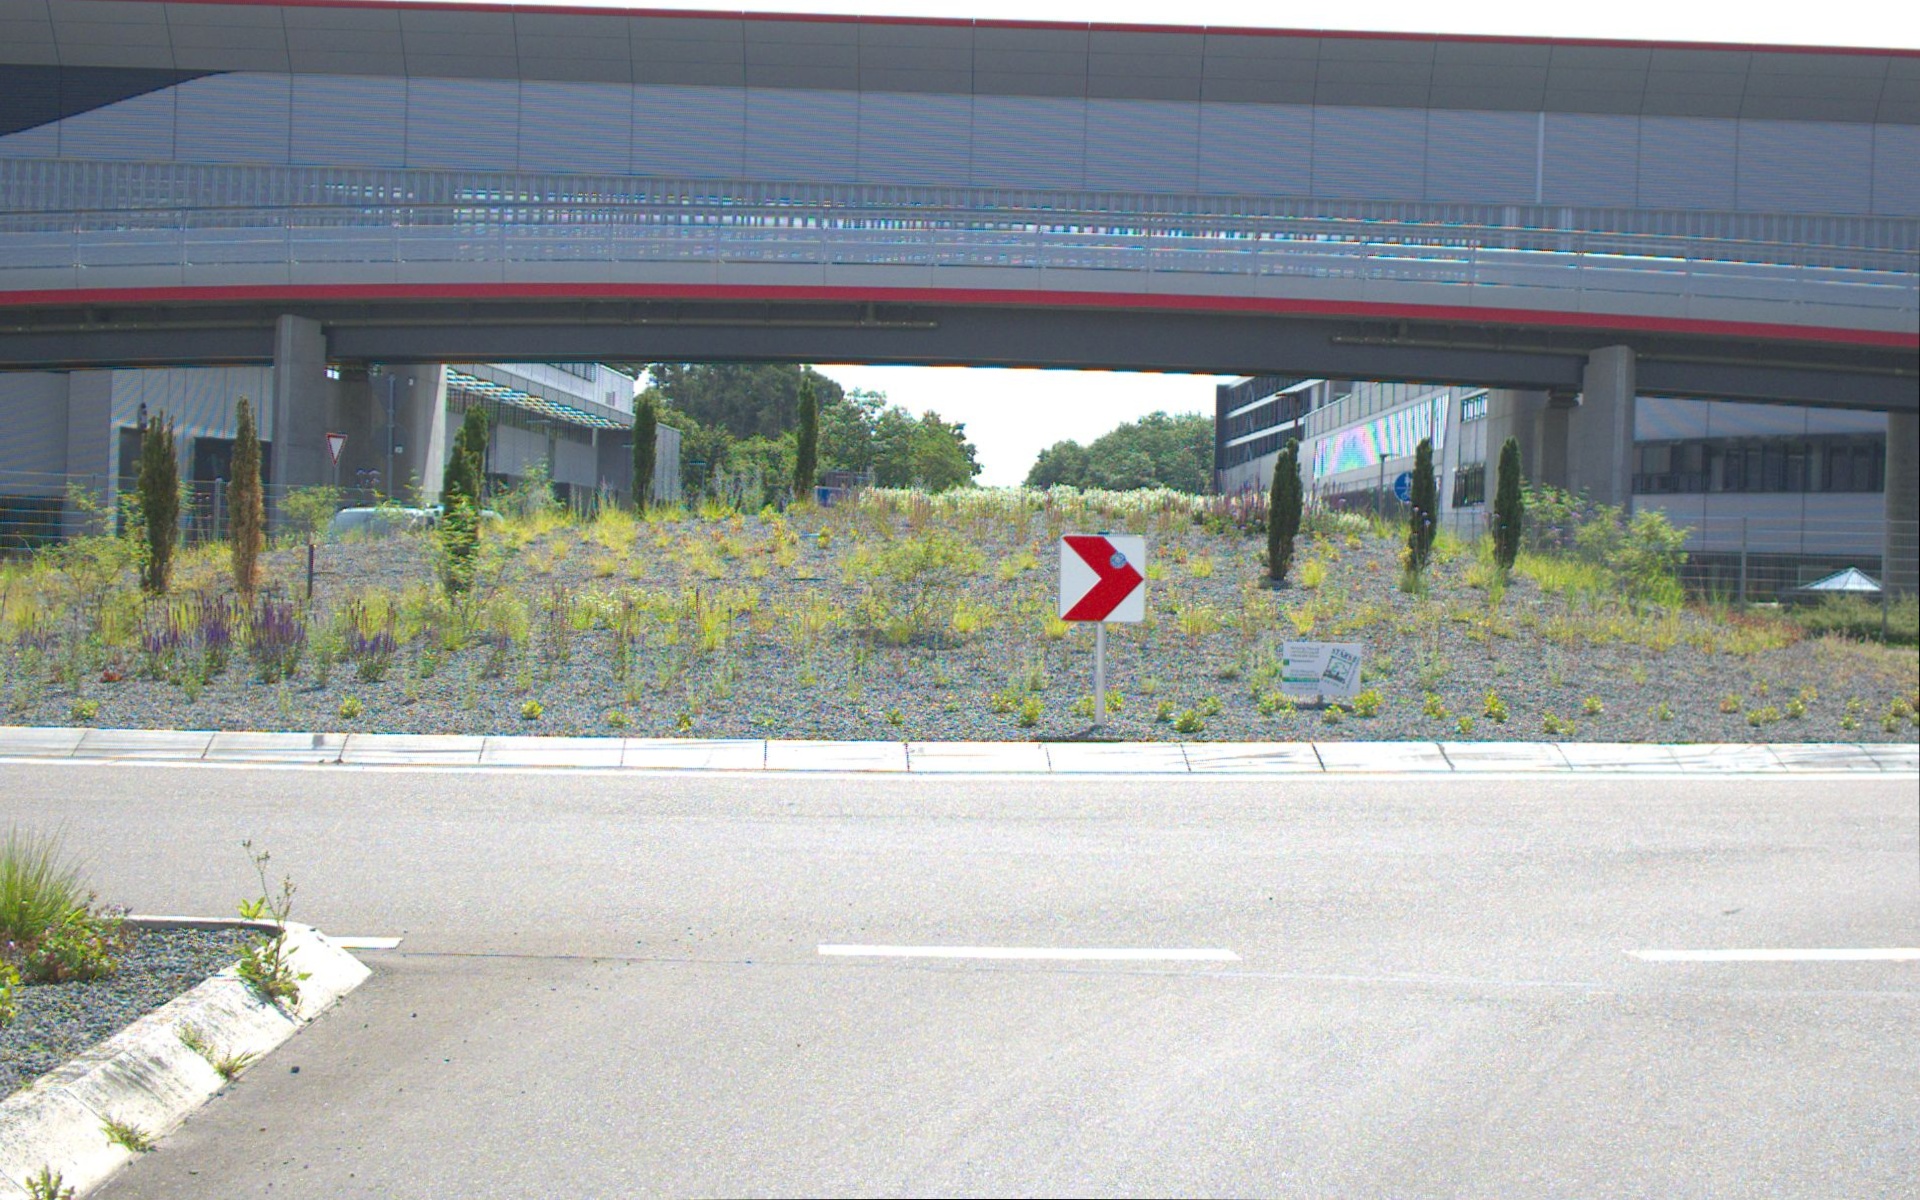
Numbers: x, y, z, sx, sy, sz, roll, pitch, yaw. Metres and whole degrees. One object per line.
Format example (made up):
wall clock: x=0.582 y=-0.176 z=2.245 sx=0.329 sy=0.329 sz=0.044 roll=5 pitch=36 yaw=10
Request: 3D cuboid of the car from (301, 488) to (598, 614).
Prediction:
car: x=-7.648 y=-0.740 z=51.925 sx=1.997 sy=1.773 sz=4.553 roll=2 pitch=1 yaw=30
